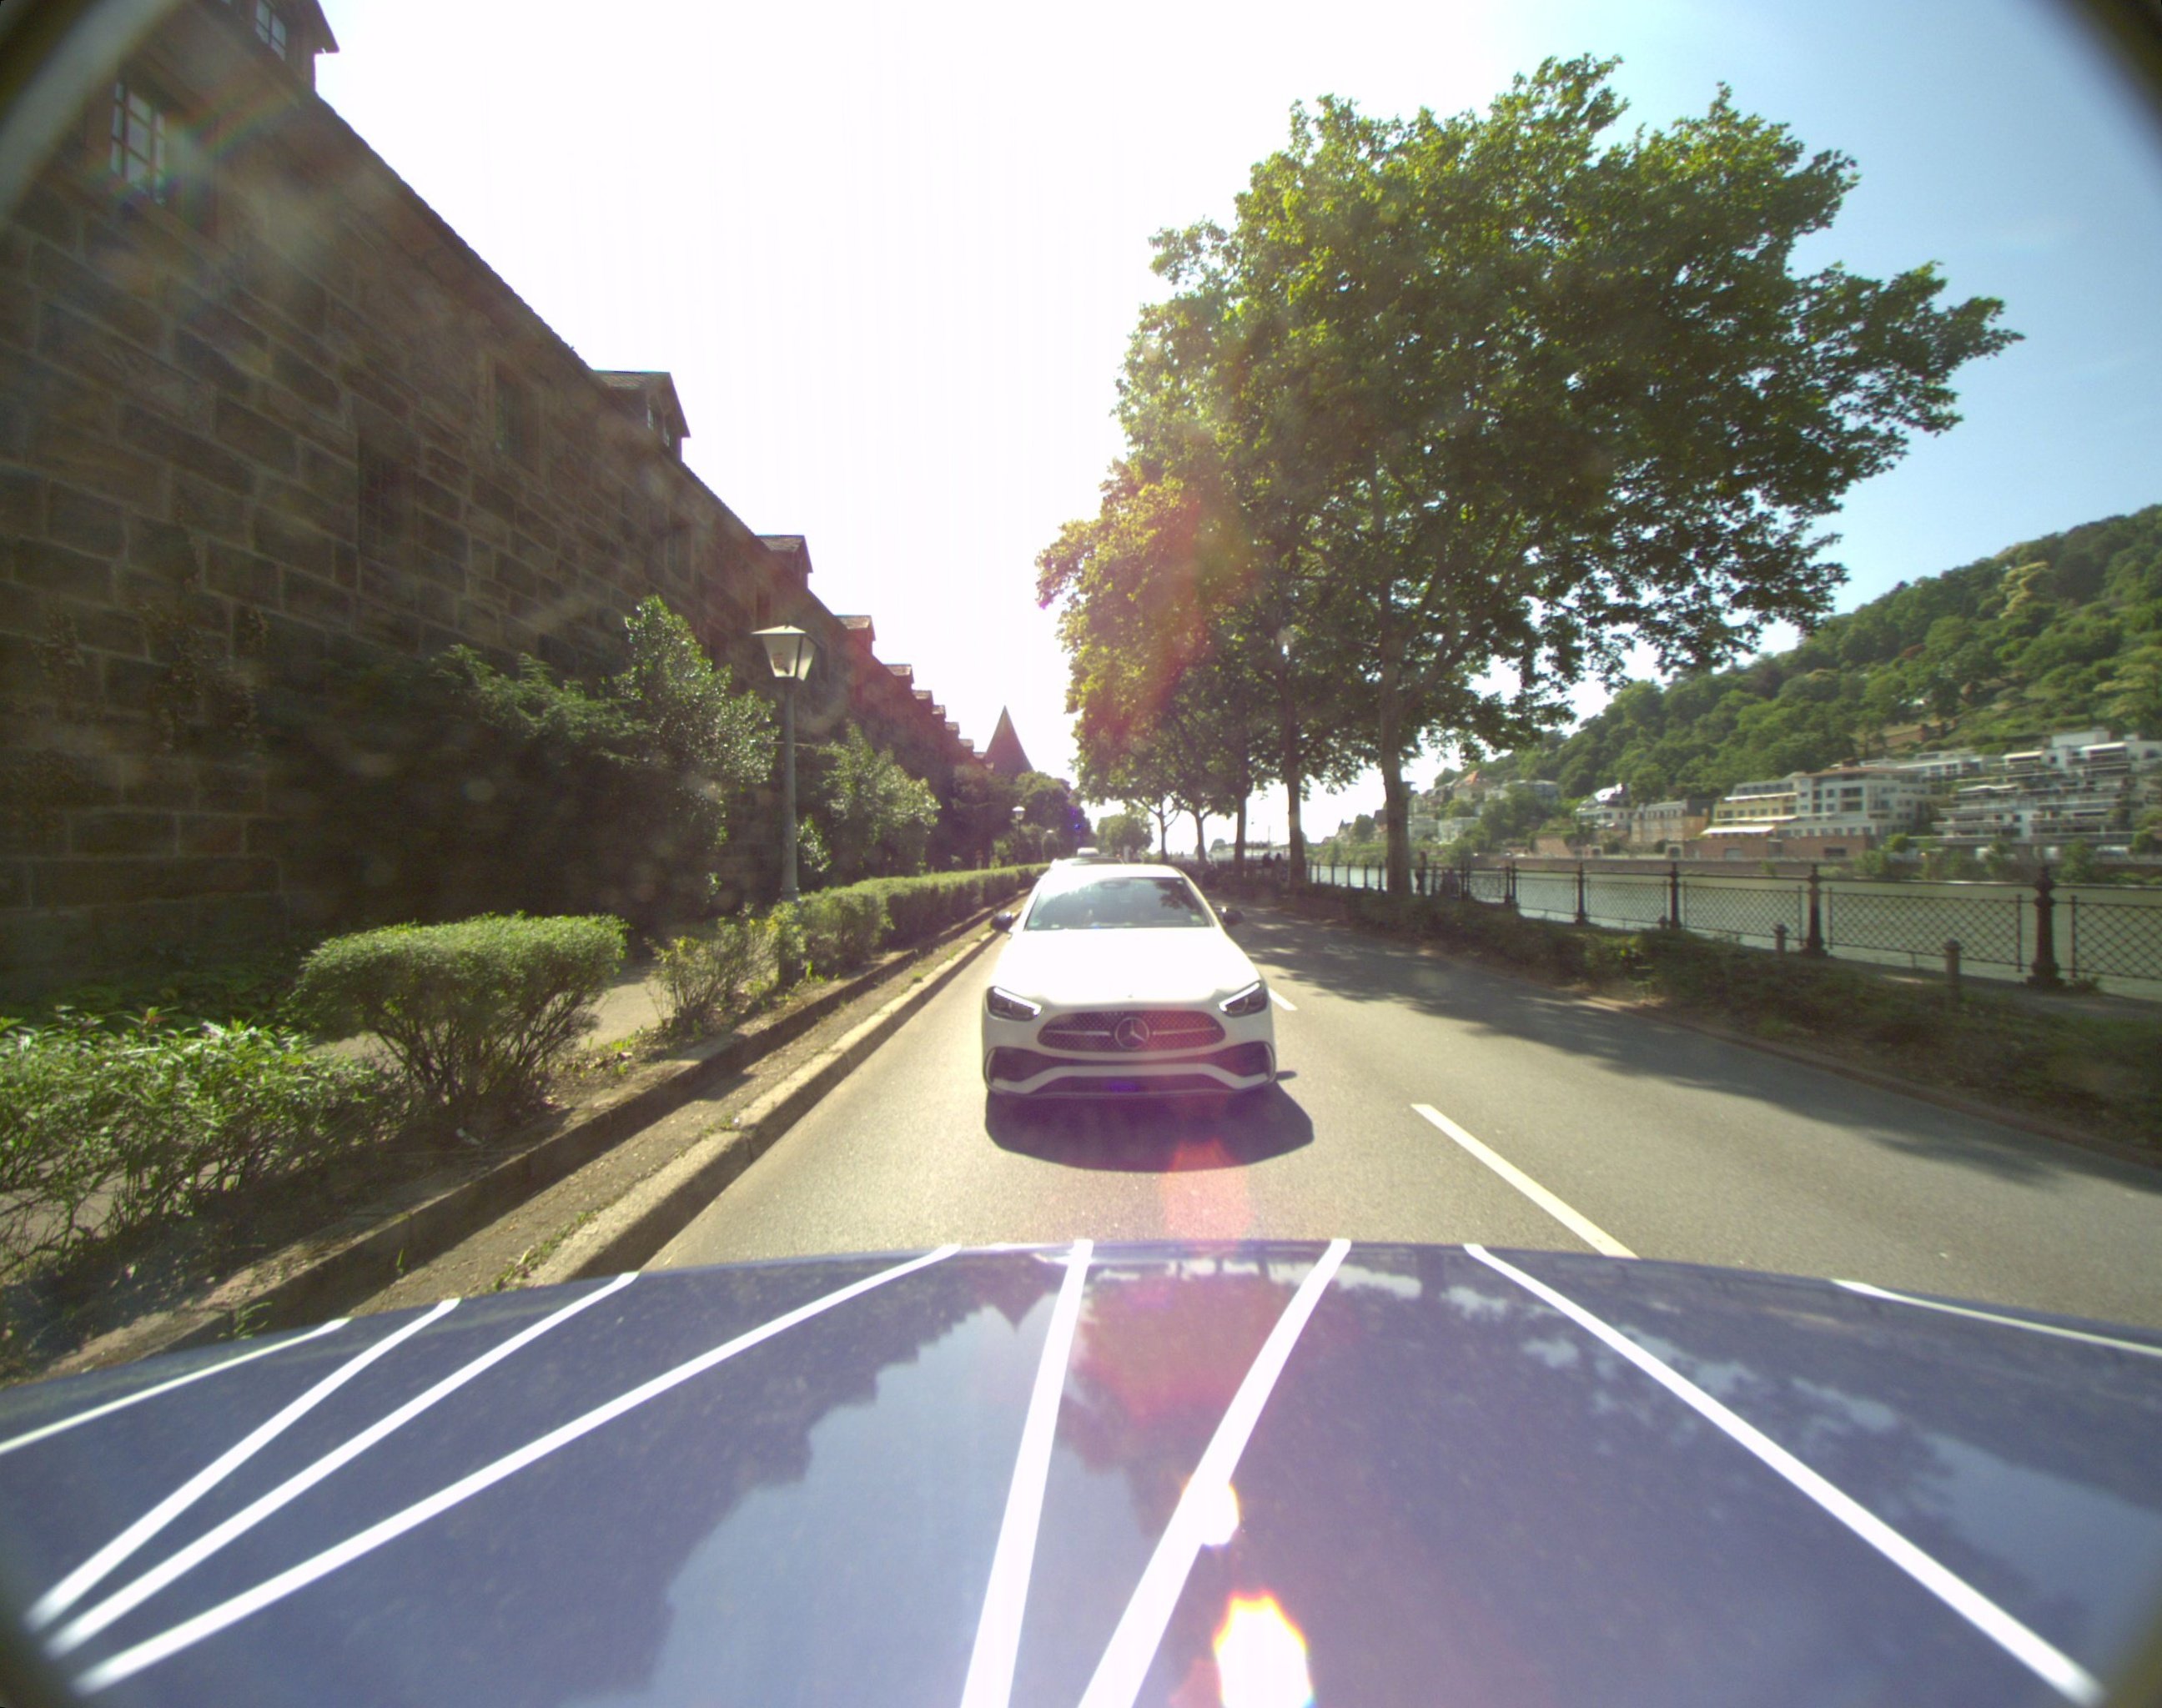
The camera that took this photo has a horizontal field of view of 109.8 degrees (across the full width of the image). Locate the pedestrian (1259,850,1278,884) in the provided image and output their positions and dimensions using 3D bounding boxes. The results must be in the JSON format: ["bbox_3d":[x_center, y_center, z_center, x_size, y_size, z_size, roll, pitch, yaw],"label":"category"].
[{"bbox_3d":[10.386,0.692,42.142,0.806,1.839,0.929,-2,1,1],"label":"pedestrian"}]

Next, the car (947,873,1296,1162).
[{"bbox_3d":[0.247,0.940,6.237,1.833,1.395,4.270,-2,0,1],"label":"car"}]

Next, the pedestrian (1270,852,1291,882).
[{"bbox_3d":[11.028,0.697,42.049,0.897,1.625,1.059,-2,1,6],"label":"pedestrian"}]

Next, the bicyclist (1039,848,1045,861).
[{"bbox_3d":[-4.491,0.075,87.800,0.550,1.513,0.583,-2,1,-1],"label":"bicyclist"}]

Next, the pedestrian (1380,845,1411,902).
[{"bbox_3d":[10.635,0.638,25.709,0.767,1.889,0.771,1,1,8],"label":"pedestrian"}]

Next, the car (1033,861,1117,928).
[{"bbox_3d":[-0.100,0.920,19.119,1.833,1.395,4.424,-2,0,1],"label":"car"}]

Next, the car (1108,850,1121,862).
[{"bbox_3d":[6.044,0.376,137.647,2.165,2.002,4.000,-2,1,1],"label":"car"}]

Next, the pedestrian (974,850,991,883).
[{"bbox_3d":[-4.703,0.584,36.333,0.643,1.555,0.563,-2,1,1],"label":"pedestrian"}]

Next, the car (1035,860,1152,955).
[{"bbox_3d":[0.228,0.874,14.338,1.833,1.428,4.270,-2,0,1],"label":"car"}]

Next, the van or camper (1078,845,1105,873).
[{"bbox_3d":[0.906,0.409,67.650,2.313,2.358,5.035,1,0,0],"label":"van or camper"}]

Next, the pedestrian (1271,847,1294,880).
[{"bbox_3d":[12.431,0.590,46.806,1.047,2.002,1.036,-1,1,31],"label":"pedestrian"}]

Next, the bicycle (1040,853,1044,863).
[{"bbox_3d":[-4.472,0.469,87.736,0.406,1.169,1.576,-2,1,-2],"label":"bicycle"}]

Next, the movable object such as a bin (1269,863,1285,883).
[{"bbox_3d":[11.090,1.065,42.929,0.703,1.043,0.783,-2,1,4],"label":"movable object such as a bin"}]

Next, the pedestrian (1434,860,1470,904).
[{"bbox_3d":[12.034,0.903,24.681,0.768,1.379,0.770,1,0,0],"label":"pedestrian"}]

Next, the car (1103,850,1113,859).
[{"bbox_3d":[6.444,0.203,182.724,2.165,2.002,4.000,-2,1,1],"label":"car"}]

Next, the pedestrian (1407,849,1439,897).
[{"bbox_3d":[12.842,0.702,28.522,0.777,1.748,0.830,1,1,0],"label":"pedestrian"}]

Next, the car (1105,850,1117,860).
[{"bbox_3d":[6.035,0.185,152.681,2.165,2.002,4.000,-2,1,1],"label":"car"}]
